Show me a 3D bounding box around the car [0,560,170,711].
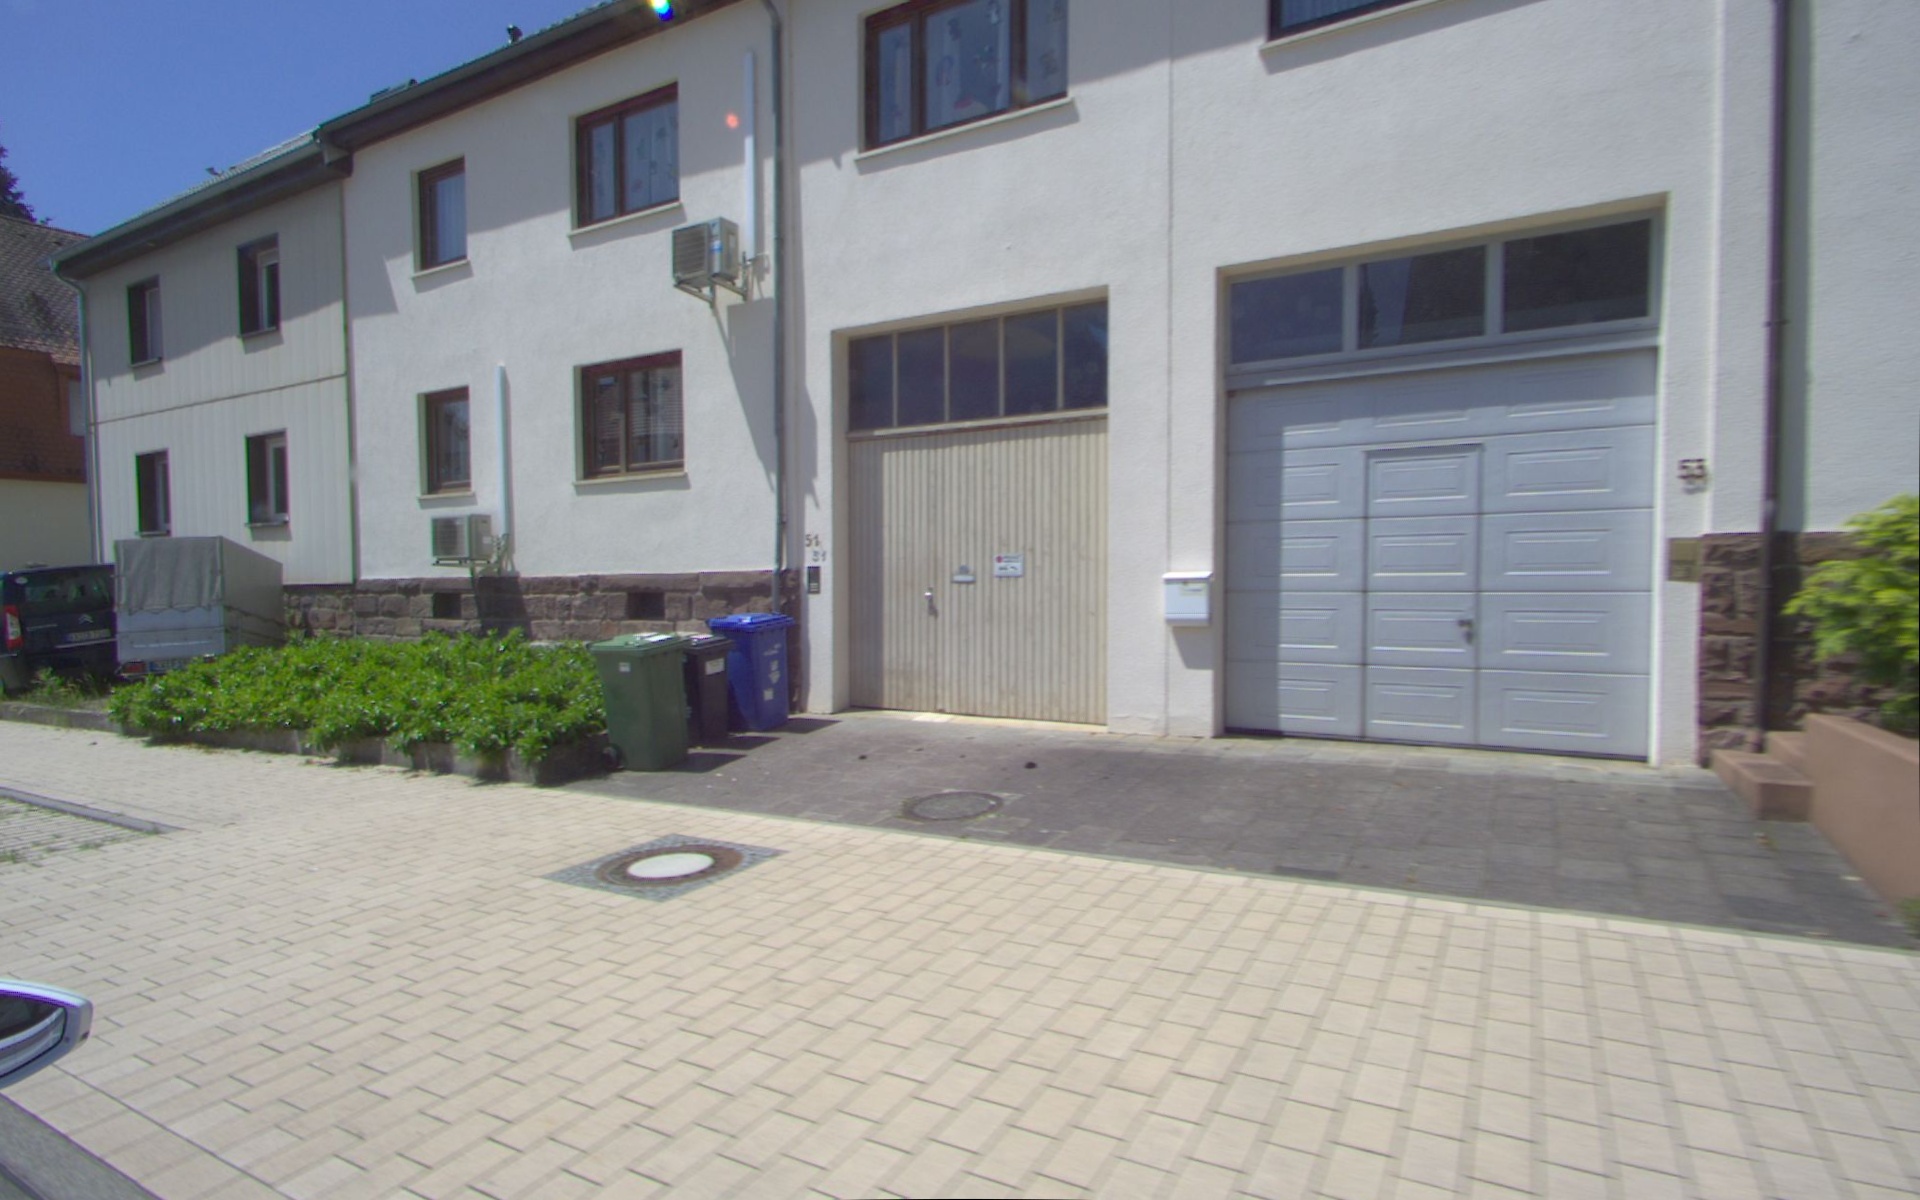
[{"bbox_3d":[-14.573,0.497,15.690,4.705,1.998,1.847,-1,4,32],"label":"car"}]

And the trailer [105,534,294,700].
[{"bbox_3d":[-10.167,0.240,13.546,1.301,2.040,2.270,0,-1,-16],"label":"trailer"}]

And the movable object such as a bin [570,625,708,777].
[{"bbox_3d":[-2.644,0.802,8.264,0.802,1.130,0.681,-1,3,37],"label":"movable object such as a bin"}]

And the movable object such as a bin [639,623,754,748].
[{"bbox_3d":[-2.329,0.733,8.862,0.793,1.000,0.555,-1,4,38],"label":"movable object such as a bin"}]

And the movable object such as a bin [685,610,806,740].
[{"bbox_3d":[-2.035,0.681,9.498,0.852,1.122,0.682,-1,3,38],"label":"movable object such as a bin"}]
